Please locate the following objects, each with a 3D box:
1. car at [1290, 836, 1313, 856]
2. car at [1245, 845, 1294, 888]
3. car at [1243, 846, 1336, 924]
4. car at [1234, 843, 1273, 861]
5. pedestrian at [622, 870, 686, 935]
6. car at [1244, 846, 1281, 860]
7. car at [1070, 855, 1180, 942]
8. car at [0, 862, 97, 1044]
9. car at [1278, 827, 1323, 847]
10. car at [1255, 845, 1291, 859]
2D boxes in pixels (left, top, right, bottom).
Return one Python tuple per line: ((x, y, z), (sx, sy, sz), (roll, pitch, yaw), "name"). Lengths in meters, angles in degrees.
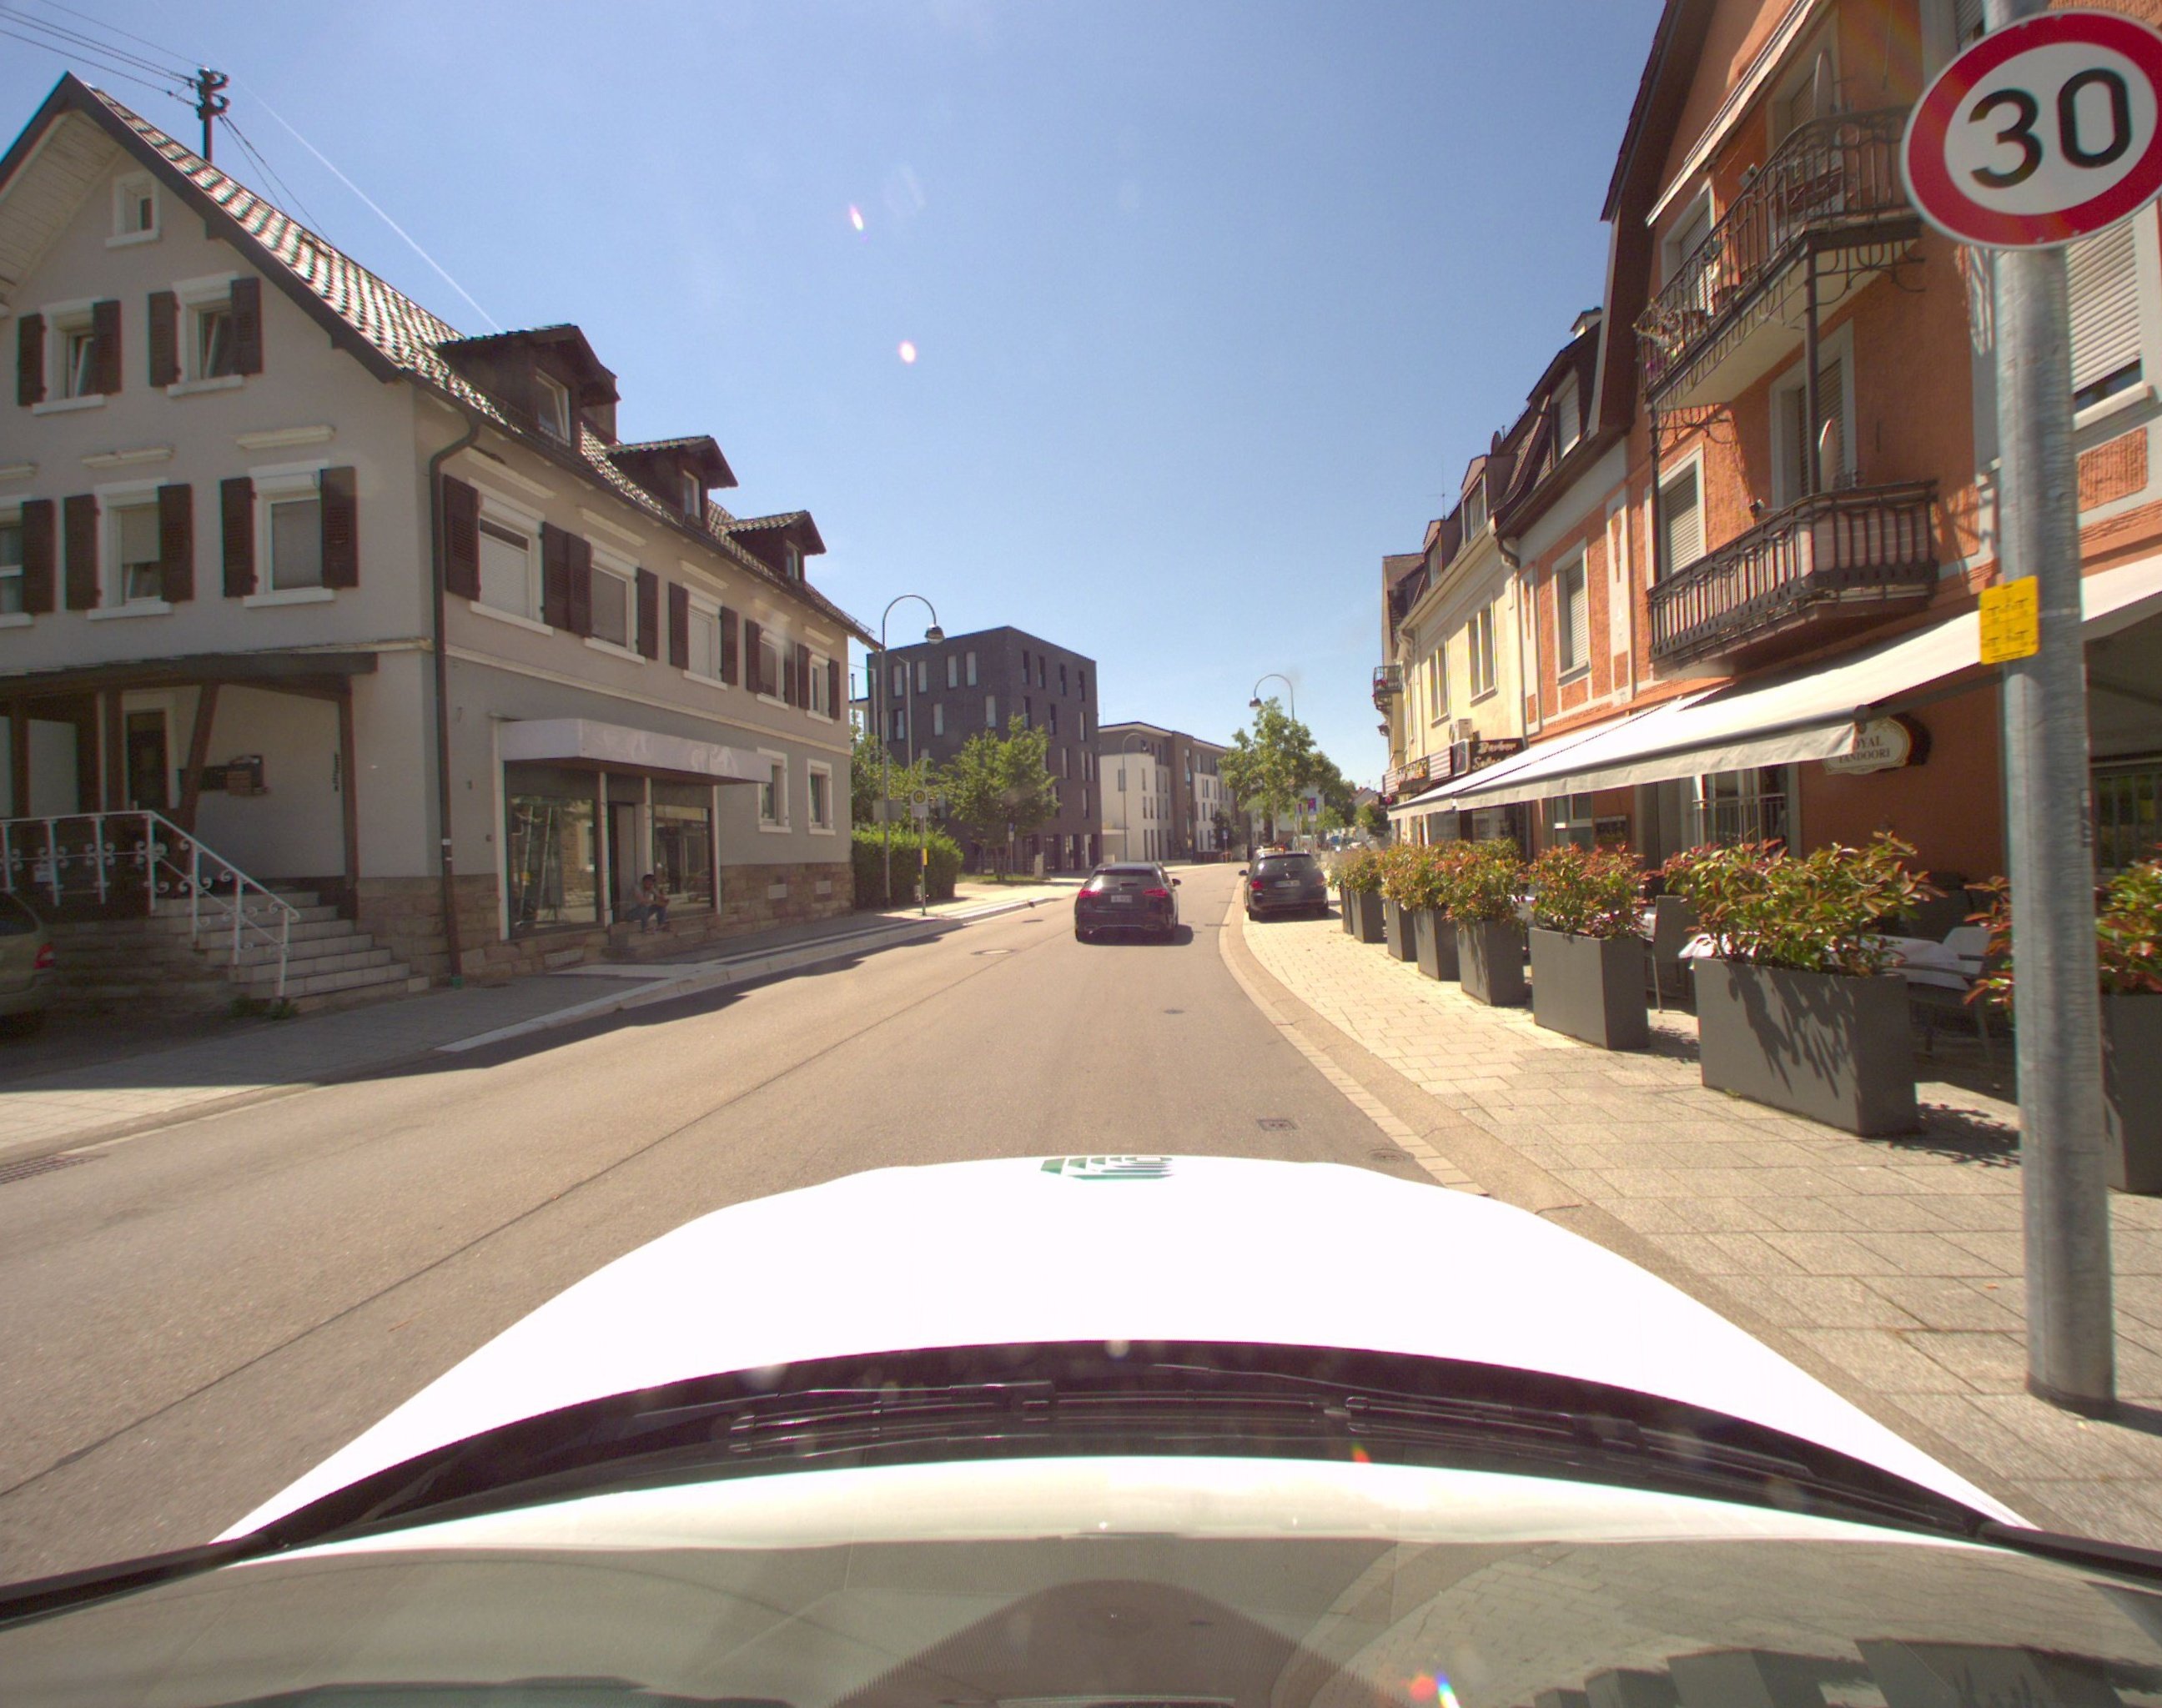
((23.074, -0.875, 85.186), (1.977, 2.013, 4.020), (-1, 0, 20), "car")
((7.381, 0.453, 32.181), (1.596, 1.530, 3.501), (-3, 0, 9), "car")
((4.703, 0.641, 18.838), (1.739, 1.486, 4.012), (-4, -1, 11), "car")
((20.349, -0.283, 96.086), (3.948, 2.013, 2.013), (-1, 0, 31), "car")
((-7.313, 0.814, 13.966), (0.666, 1.054, 0.701), (-1, 0, 6), "pedestrian")
((22.422, -0.113, 100.628), (3.949, 1.662, 2.012), (-1, 0, 30), "car")
((1.014, 0.765, 16.220), (1.752, 1.457, 4.449), (-1, 0, 8), "car")
((-12.019, 0.931, 7.643), (3.962, 1.639, 1.763), (1, 3, 10), "car")
((31.256, -2.424, 116.024), (5.587, 2.579, 2.531), (-1, 0, 31), "car")
((24.279, -0.269, 102.890), (3.949, 1.662, 2.012), (-1, 0, 30), "car")
